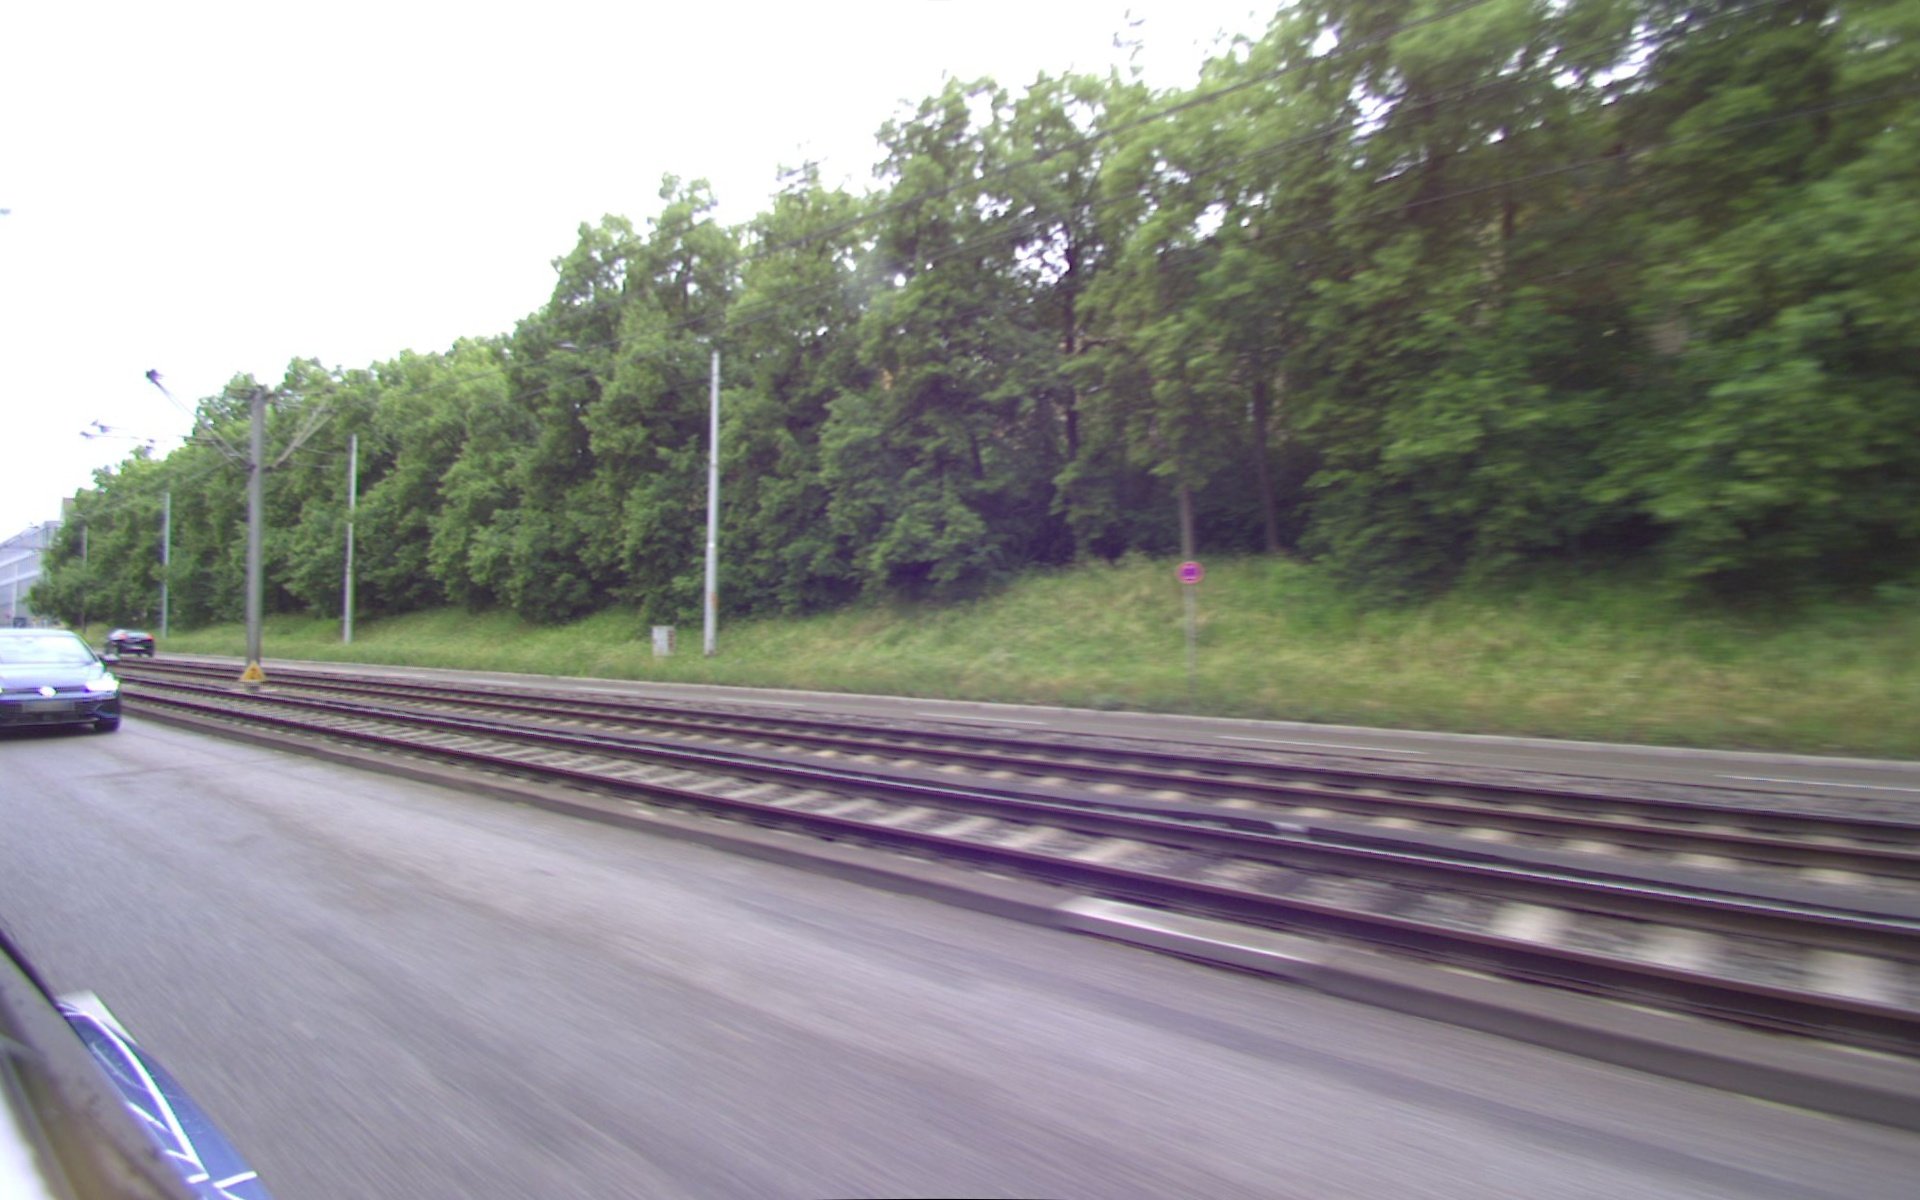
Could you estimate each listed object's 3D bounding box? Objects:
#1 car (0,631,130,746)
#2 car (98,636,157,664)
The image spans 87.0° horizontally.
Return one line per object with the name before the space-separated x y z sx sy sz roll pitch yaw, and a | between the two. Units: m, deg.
car | -13.346 1.179 14.345 3.830 1.459 1.748 -2 -3 40
car | -45.425 2.726 55.168 4.023 1.454 1.653 -1 -5 39
